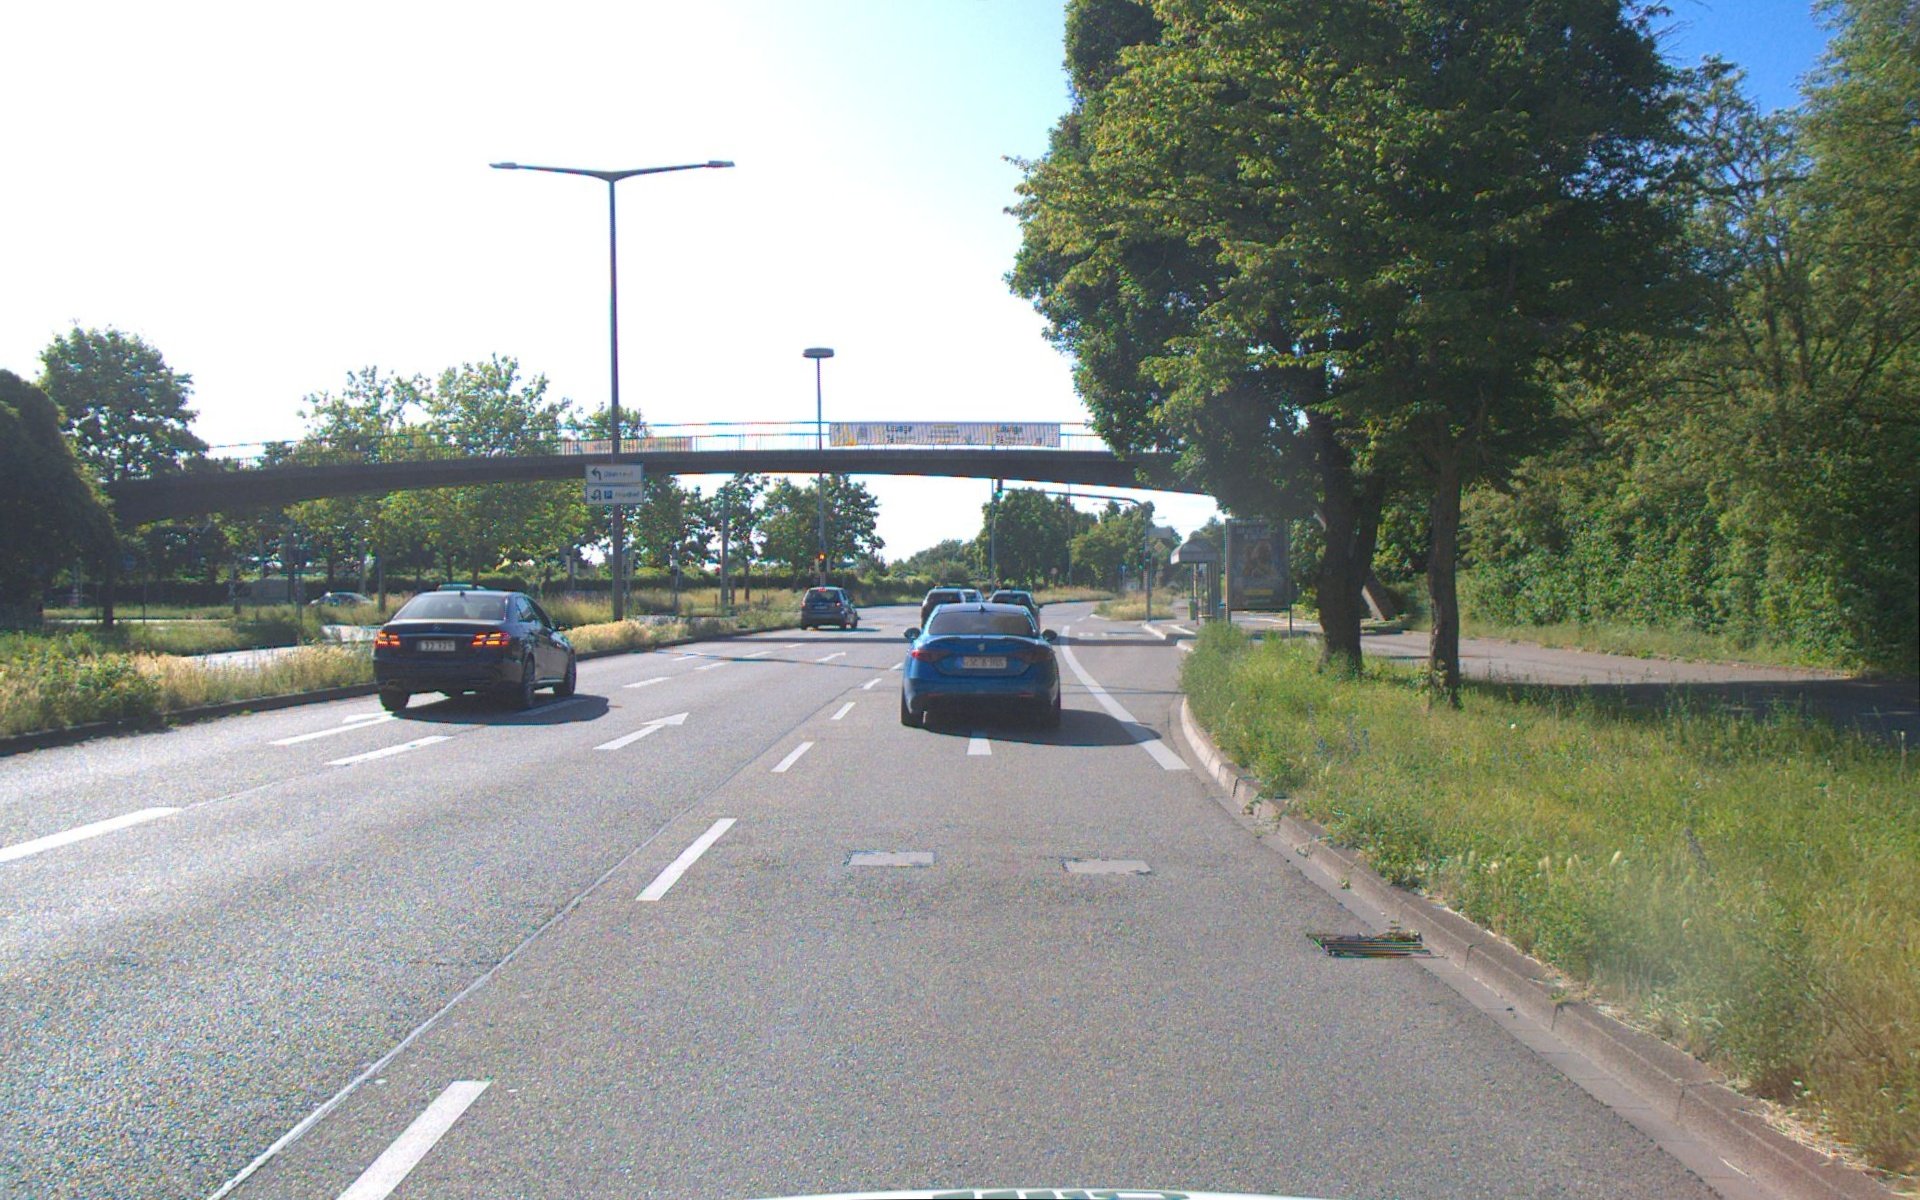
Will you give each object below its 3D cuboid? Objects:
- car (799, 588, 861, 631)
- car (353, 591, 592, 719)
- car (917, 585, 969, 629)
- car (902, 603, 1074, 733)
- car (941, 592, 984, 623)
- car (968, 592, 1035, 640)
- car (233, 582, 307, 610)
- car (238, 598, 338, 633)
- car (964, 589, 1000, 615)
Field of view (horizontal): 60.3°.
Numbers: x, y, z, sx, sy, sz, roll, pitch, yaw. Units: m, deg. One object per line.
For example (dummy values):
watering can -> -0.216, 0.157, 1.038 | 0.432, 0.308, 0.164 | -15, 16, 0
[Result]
car -> -4.922, 0.377, 63.125 | 1.759, 1.583, 3.732 | 0, 0, 5
car -> -6.359, 0.655, 22.184 | 1.920, 1.509, 4.916 | -1, 0, -2
car -> -0.706, 0.278, 64.723 | 1.675, 1.626, 4.219 | 0, 0, -6
car -> 0.239, 0.768, 20.453 | 1.845, 1.431, 4.221 | 0, 0, -3
car -> 0.092, 0.352, 81.673 | 1.845, 1.479, 4.523 | 0, 0, -3
car -> 1.305, 0.511, 54.064 | 1.845, 1.479, 4.523 | 0, 0, -3
car -> -51.807, -0.302, 124.277 | 4.688, 2.049, 2.000 | 0, 0, -1
car -> -32.952, 0.753, 81.167 | 4.216, 1.679, 2.001 | 0, 0, 17
car -> 1.280, 0.130, 98.078 | 1.845, 1.479, 4.523 | 0, 0, -3
